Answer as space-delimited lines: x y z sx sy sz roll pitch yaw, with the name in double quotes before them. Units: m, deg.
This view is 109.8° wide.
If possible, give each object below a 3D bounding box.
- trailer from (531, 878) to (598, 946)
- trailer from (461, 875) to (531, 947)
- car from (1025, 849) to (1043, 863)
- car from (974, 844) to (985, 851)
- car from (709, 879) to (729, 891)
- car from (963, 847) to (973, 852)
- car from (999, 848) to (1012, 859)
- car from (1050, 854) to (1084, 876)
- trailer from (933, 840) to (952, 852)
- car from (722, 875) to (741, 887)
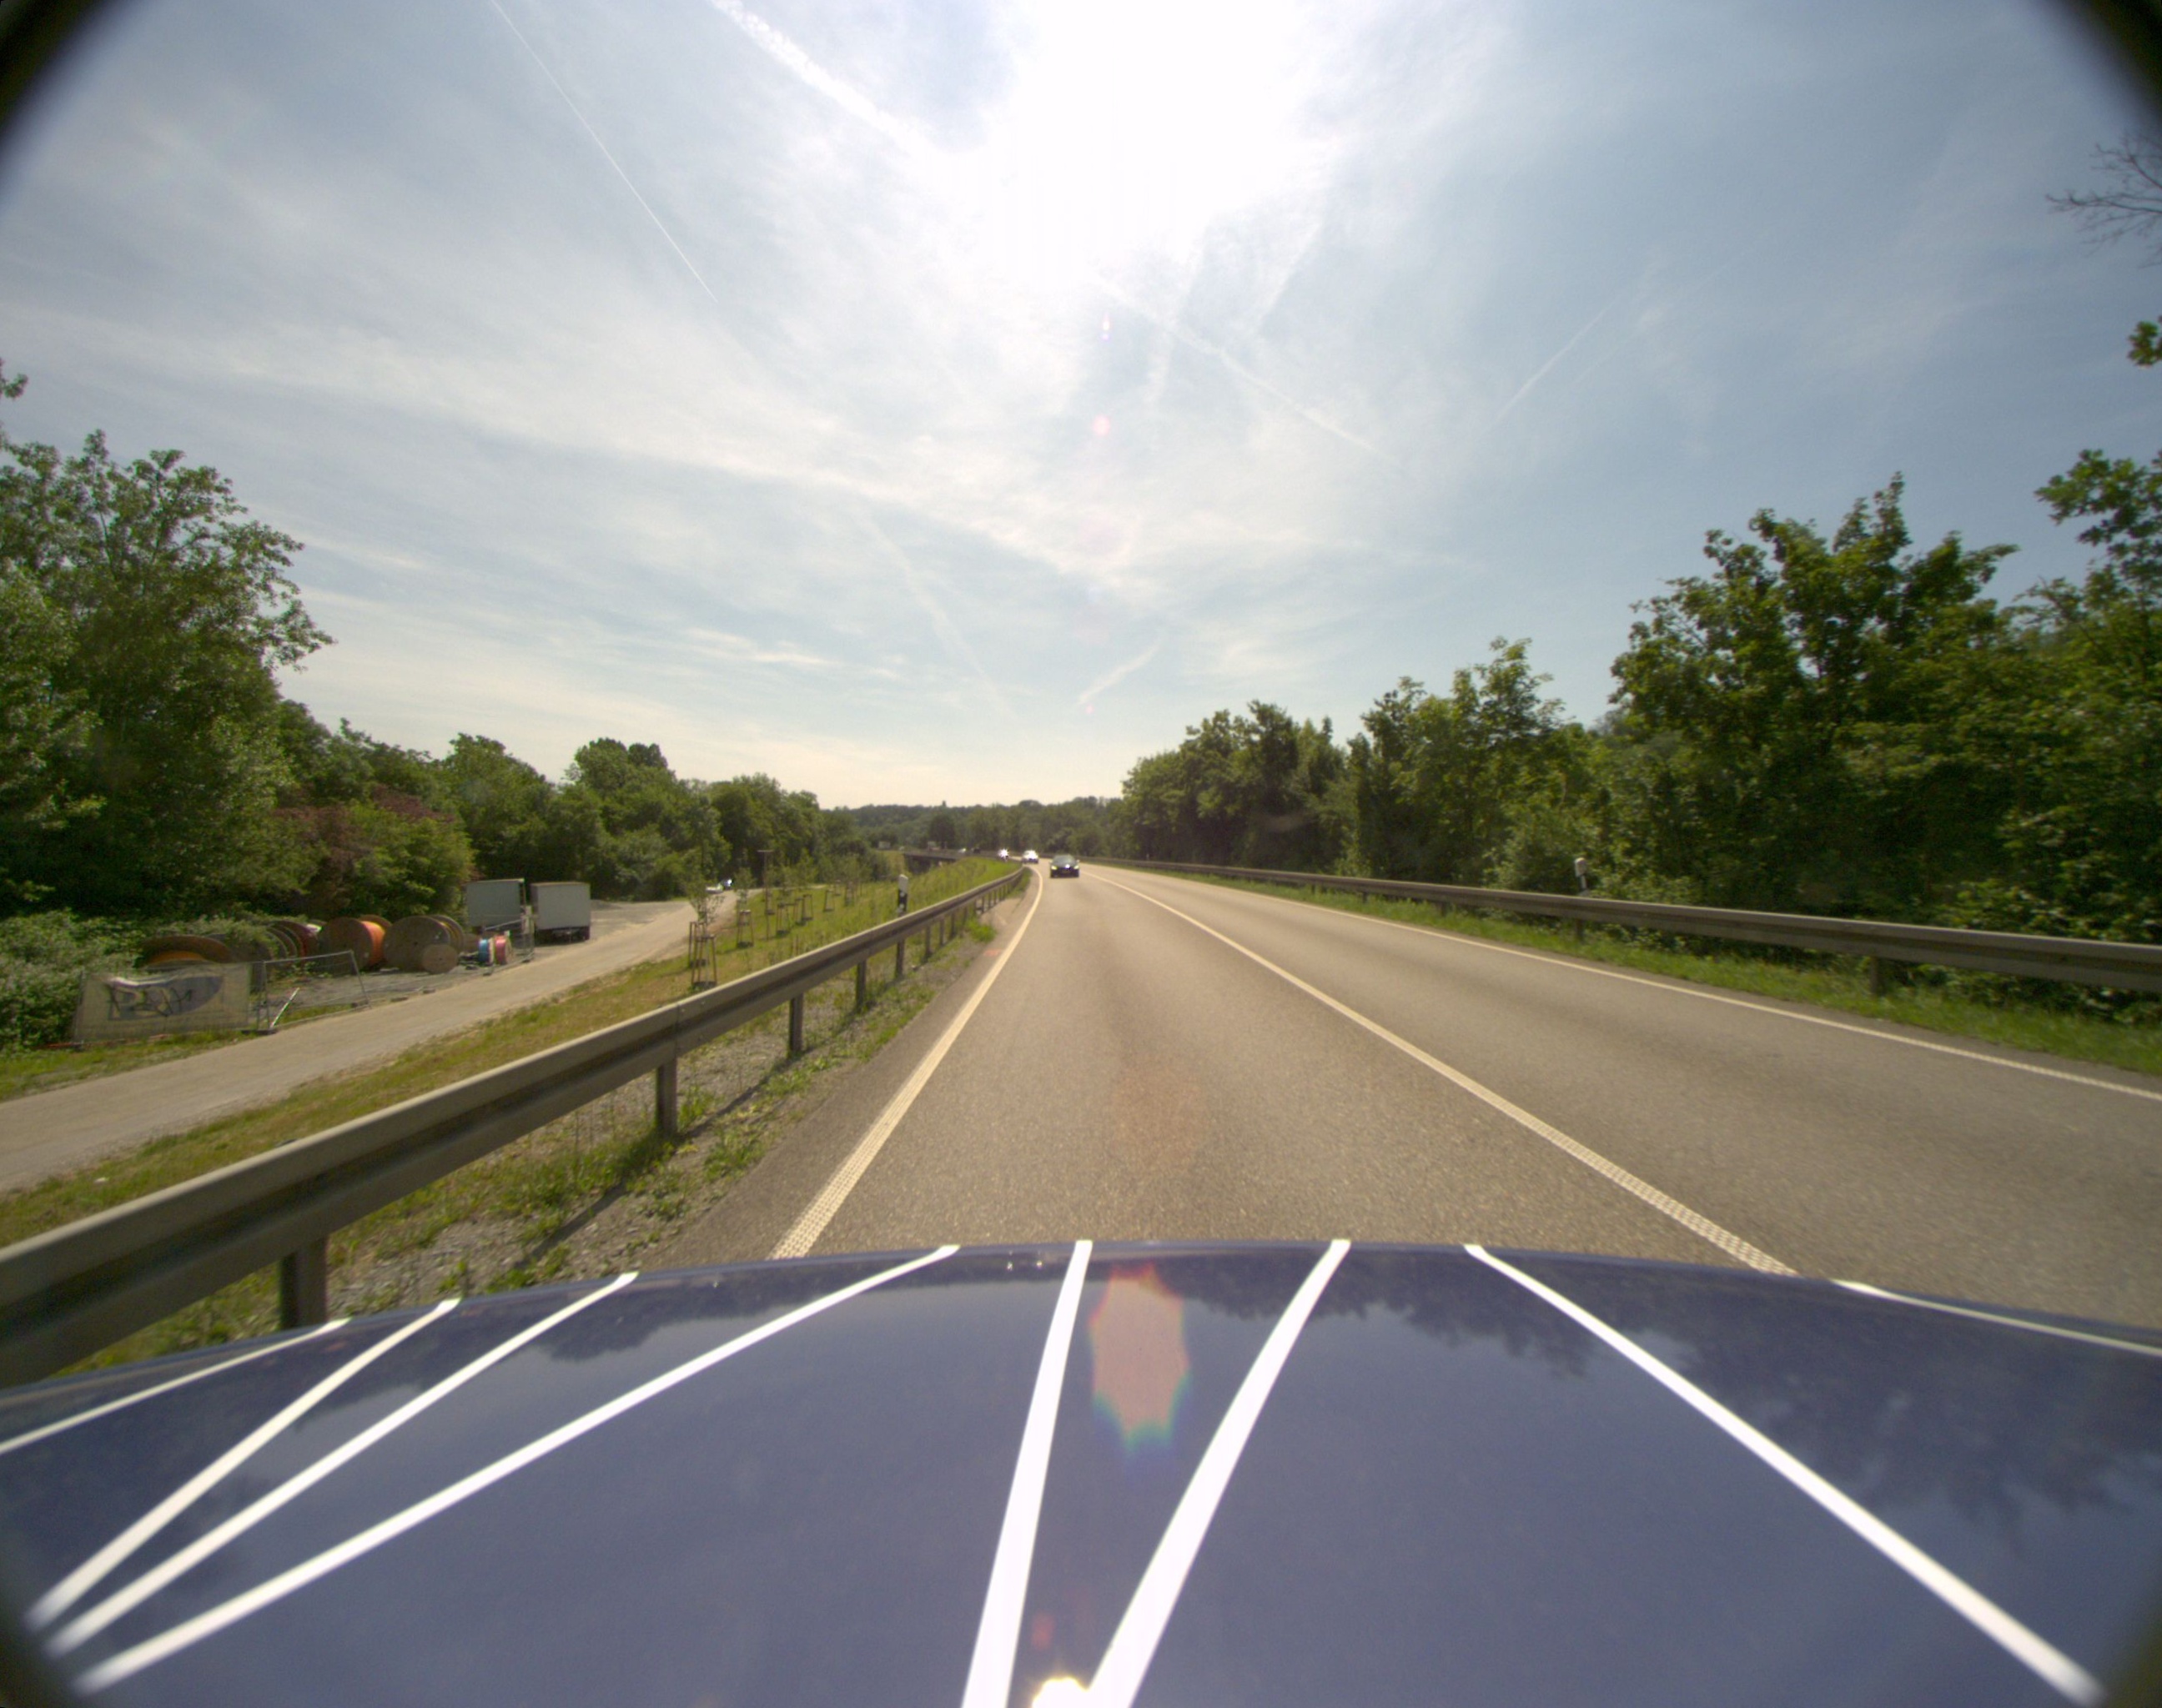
"trailer" -31.649 3.265 46.286 2.732 3.309 11.863 -2 1 -37
"trailer" -36.283 3.298 47.490 2.732 3.586 11.864 -3 1 -35
"car" -6.195 0.218 99.308 1.982 1.779 3.997 -2 0 -8
"car" -26.958 -1.787 201.462 1.930 1.849 5.166 -2 1 -20
"car" -49.942 4.233 104.974 1.865 1.474 4.600 2 -1 -17
"car" -32.527 -1.353 218.542 1.776 1.485 4.161 -2 1 -22
"car" -13.852 -0.121 139.132 1.982 1.723 3.994 -2 2 -13
"car" -0.971 0.693 49.752 1.981 1.333 3.998 -1 1 -5
"trailer" -45.686 -2.717 250.106 3.132 3.957 15.325 -2 1 -22
"car" -53.192 4.134 115.774 1.865 1.672 4.194 2 -1 -15
